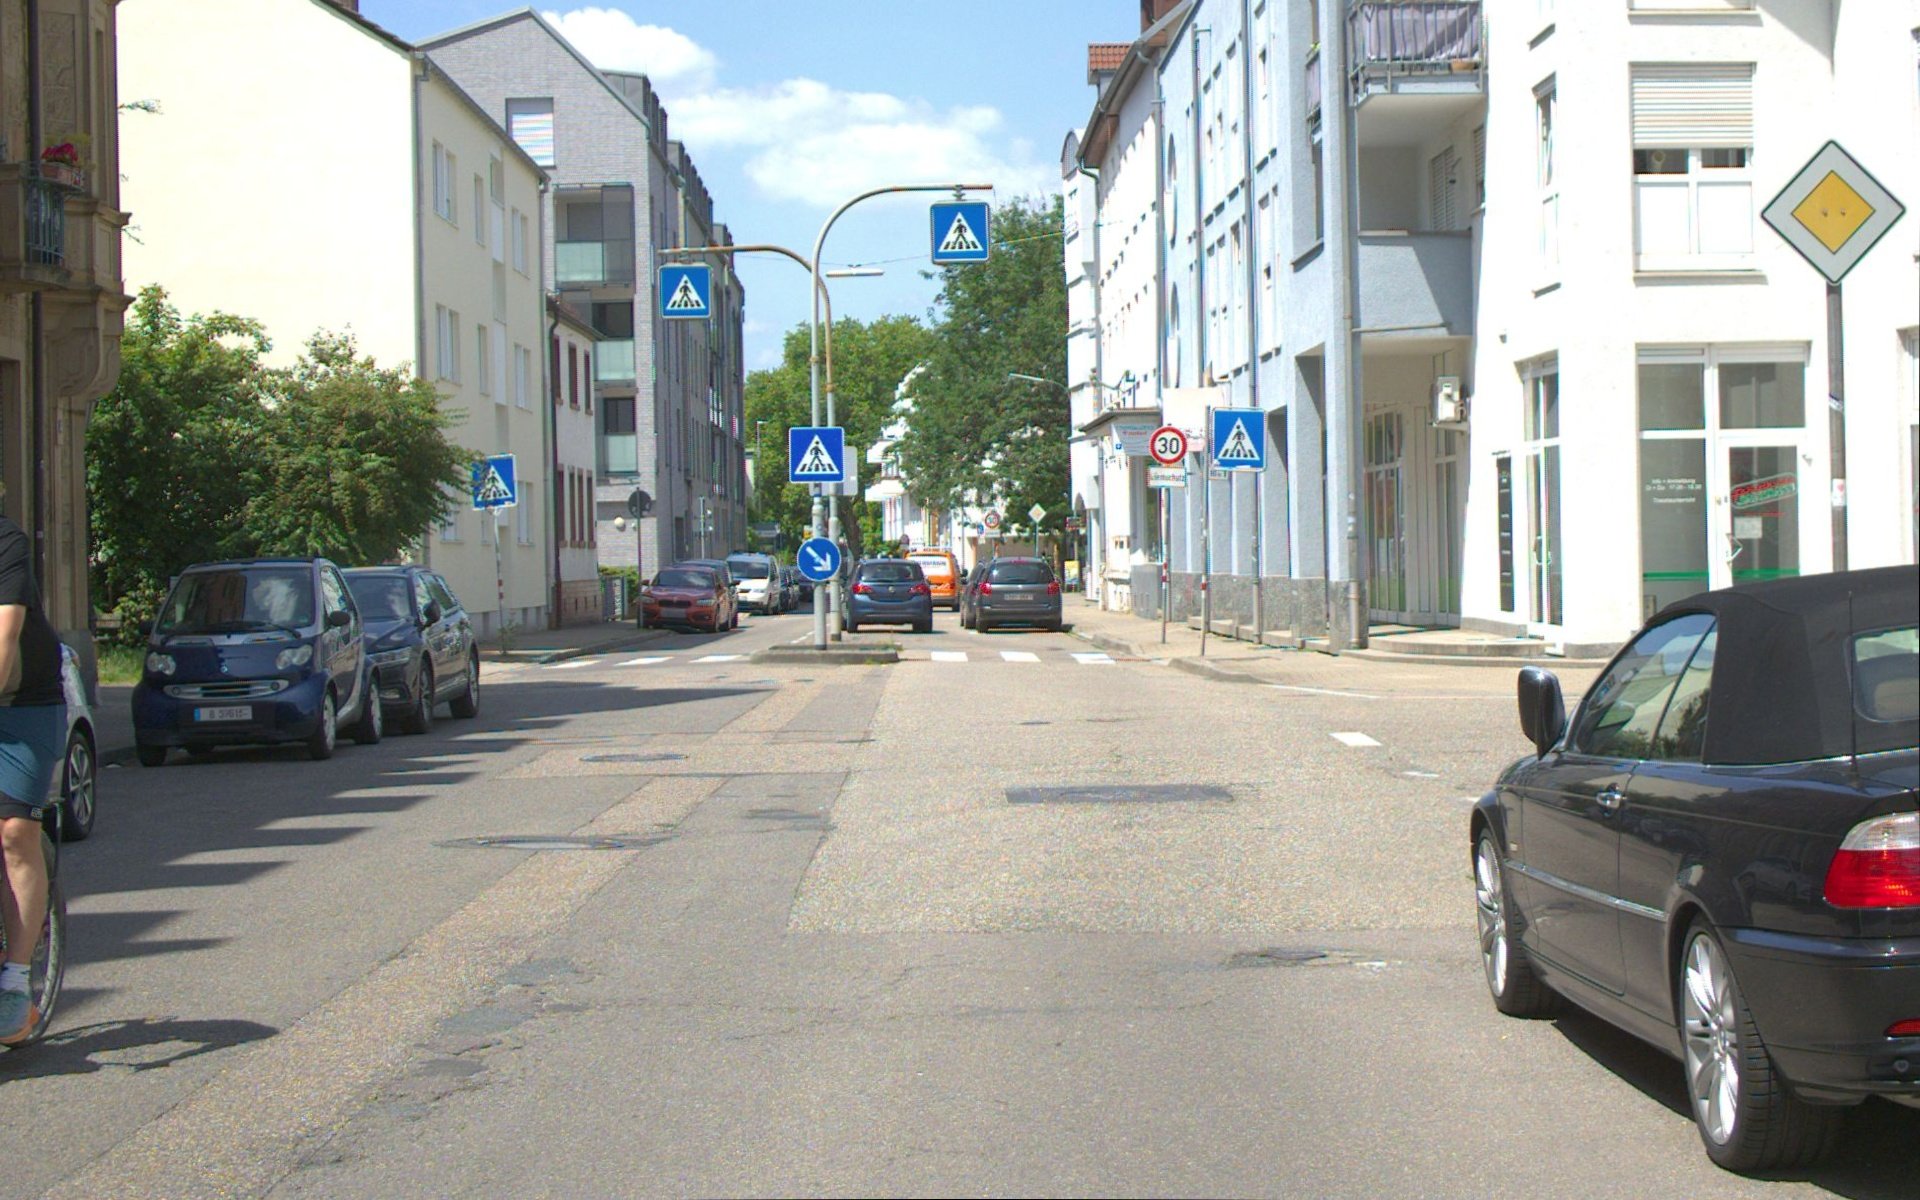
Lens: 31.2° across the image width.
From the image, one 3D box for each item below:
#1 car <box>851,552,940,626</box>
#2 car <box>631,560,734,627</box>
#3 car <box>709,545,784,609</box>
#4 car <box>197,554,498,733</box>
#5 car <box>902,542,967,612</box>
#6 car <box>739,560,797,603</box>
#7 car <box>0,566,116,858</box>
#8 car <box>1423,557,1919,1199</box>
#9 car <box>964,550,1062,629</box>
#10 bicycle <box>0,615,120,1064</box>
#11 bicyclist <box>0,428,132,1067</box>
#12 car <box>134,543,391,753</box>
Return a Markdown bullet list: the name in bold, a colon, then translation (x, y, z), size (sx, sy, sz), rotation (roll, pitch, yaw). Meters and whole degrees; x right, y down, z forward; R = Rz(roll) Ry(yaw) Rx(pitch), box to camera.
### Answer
- **car**: translation (-1.280, -0.242, 68.850), size (1.715, 1.397, 4.000), rotation (-1, 1, -1)
- **car**: translation (-6.142, -0.154, 76.452), size (1.834, 1.412, 4.289), rotation (-1, 0, 1)
- **car**: translation (-6.453, -0.713, 104.310), size (1.757, 1.885, 4.336), rotation (1, 1, 3)
- **car**: translation (-5.428, 0.342, 31.023), size (1.783, 1.453, 4.634), rotation (-1, 0, 1)
- **car**: translation (-0.753, -0.701, 101.256), size (1.839, 2.007, 4.000), rotation (-1, 1, -1)
- **car**: translation (-6.548, -0.639, 117.572), size (1.723, 1.451, 4.005), rotation (0, 0, 0)
- **car**: translation (-5.579, 0.590, 17.134), size (1.634, 1.426, 4.018), rotation (-2, 1, 1)
- **car**: translation (2.442, 0.595, 9.315), size (1.656, 1.371, 4.239), rotation (-1, 1, -2)
- **car**: translation (1.039, -0.221, 69.042), size (1.709, 1.503, 4.000), rotation (-1, 0, -3)
- **bicycle**: translation (-2.910, 0.705, 9.823), size (0.228, 1.271, 1.882), rotation (-3, 1, 8)
- **bicyclist**: translation (-2.932, 0.406, 9.853), size (0.641, 1.756, 1.167), rotation (-3, 1, 7)
- **car**: translation (-5.379, 0.343, 26.763), size (1.436, 1.517, 2.696), rotation (-1, 0, 0)
